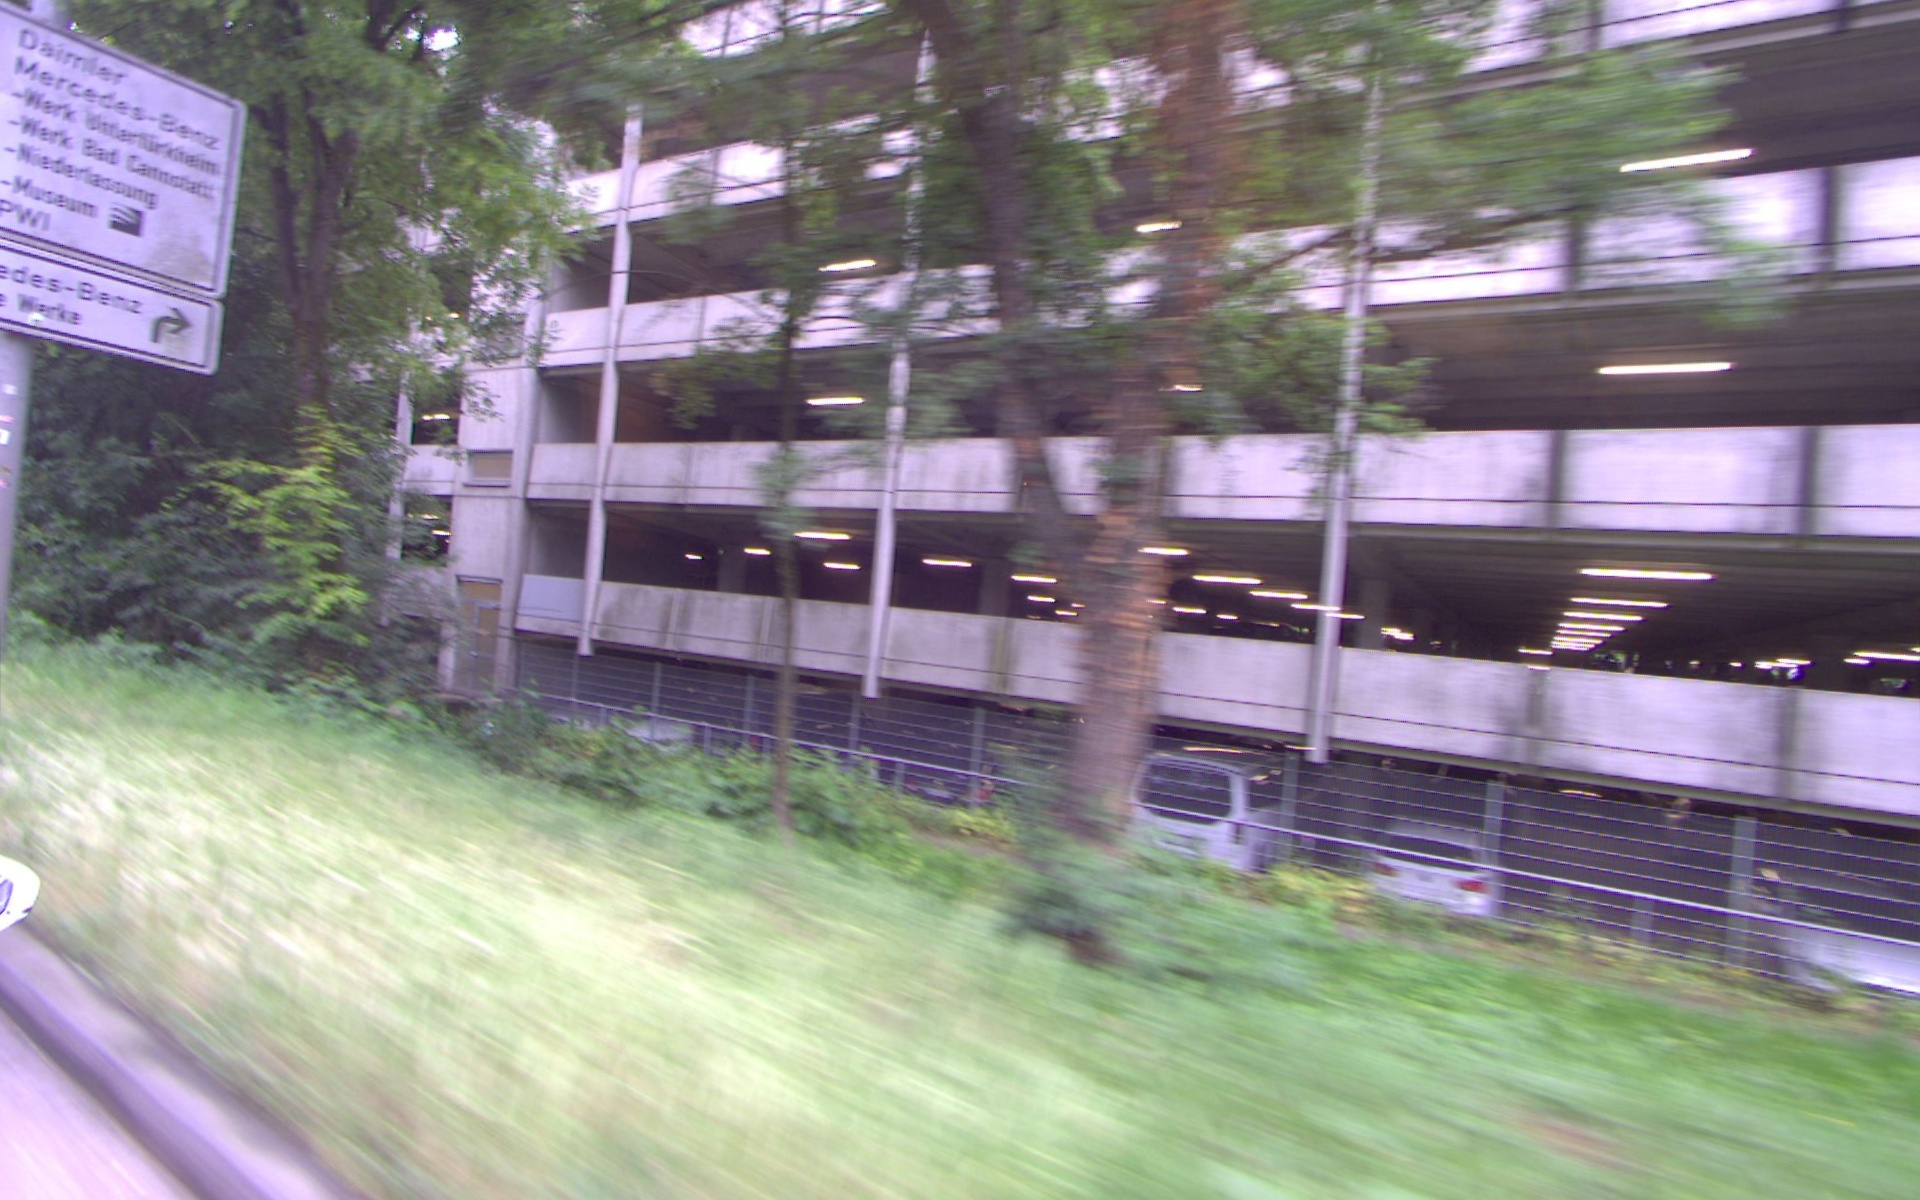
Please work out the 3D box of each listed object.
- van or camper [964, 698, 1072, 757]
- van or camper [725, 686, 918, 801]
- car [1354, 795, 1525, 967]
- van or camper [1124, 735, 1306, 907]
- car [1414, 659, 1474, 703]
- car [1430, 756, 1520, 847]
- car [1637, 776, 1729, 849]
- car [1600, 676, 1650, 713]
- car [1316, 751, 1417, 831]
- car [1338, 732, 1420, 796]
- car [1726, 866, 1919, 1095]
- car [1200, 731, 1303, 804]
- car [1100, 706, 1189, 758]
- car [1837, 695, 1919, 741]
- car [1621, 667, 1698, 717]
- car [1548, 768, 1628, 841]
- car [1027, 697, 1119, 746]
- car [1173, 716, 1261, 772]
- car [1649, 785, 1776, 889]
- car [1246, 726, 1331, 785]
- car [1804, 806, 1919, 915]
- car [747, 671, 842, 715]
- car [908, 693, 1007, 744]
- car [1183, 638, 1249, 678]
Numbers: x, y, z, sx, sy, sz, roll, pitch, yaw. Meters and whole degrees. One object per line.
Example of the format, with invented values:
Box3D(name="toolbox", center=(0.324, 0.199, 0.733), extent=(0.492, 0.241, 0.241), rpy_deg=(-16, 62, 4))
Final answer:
Box3D(name="van or camper", center=(1.841, 3.867, 30.965), extent=(1.698, 1.426, 3.718), rpy_deg=(6, -1, 30))
Box3D(name="van or camper", center=(-2.825, 2.927, 21.375), extent=(1.809, 1.977, 4.011), rpy_deg=(6, -1, 30))
Box3D(name="car", center=(7.188, 3.996, 14.976), extent=(1.916, 1.453, 4.014), rpy_deg=(5, -2, 28))
Box3D(name="van or camper", center=(4.295, 3.429, 16.468), extent=(1.808, 1.977, 4.013), rpy_deg=(6, -1, 28))
Box3D(name="car", center=(21.199, 3.557, 44.001), extent=(1.831, 1.660, 4.184), rpy_deg=(4, -2, 32))
Box3D(name="car", center=(12.207, 4.692, 23.868), extent=(1.644, 1.458, 3.670), rpy_deg=(6, -1, 28))
Box3D(name="car", center=(18.667, 5.445, 26.085), extent=(1.417, 1.348, 3.135), rpy_deg=(6, -2, 28))
Box3D(name="car", center=(33.218, 4.717, 50.322), extent=(1.831, 1.609, 4.184), rpy_deg=(4, -2, 32))
Box3D(name="car", center=(10.521, 4.840, 25.899), extent=(1.646, 1.459, 3.665), rpy_deg=(6, -1, 33))
Box3D(name="car", center=(12.640, 4.865, 30.244), extent=(1.694, 1.440, 3.698), rpy_deg=(5, -2, 31))
Box3D(name="car", center=(11.246, 4.627, 12.520), extent=(1.916, 1.525, 4.263), rpy_deg=(6, -1, 28))
Box3D(name="car", center=(7.761, 4.341, 26.562), extent=(1.645, 1.373, 3.667), rpy_deg=(6, -1, 31))
Box3D(name="car", center=(6.295, 4.408, 33.973), extent=(1.758, 1.323, 3.698), rpy_deg=(5, -1, 29))
Box3D(name="car", center=(33.567, 4.269, 36.475), extent=(1.830, 1.444, 4.185), rpy_deg=(4, -2, 30))
Box3D(name="car", center=(24.630, 3.237, 35.547), extent=(1.830, 1.502, 3.763), rpy_deg=(4, -2, 30))
Box3D(name="car", center=(16.882, 5.418, 26.988), extent=(1.577, 1.323, 3.693), rpy_deg=(5, -1, 35))
Box3D(name="car", center=(3.971, 4.150, 34.831), extent=(1.758, 1.323, 3.698), rpy_deg=(5, -1, 29))
Box3D(name="car", center=(8.313, 4.570, 32.382), extent=(1.758, 1.323, 3.698), rpy_deg=(5, -1, 29))
Box3D(name="car", center=(16.345, 5.085, 22.021), extent=(1.645, 1.459, 3.668), rpy_deg=(6, -1, 30))
Box3D(name="car", center=(10.324, 4.803, 31.460), extent=(1.758, 1.323, 3.698), rpy_deg=(5, -1, 29))
Box3D(name="car", center=(18.759, 5.257, 20.387), extent=(1.644, 1.459, 3.670), rpy_deg=(6, -1, 28))
Box3D(name="car", center=(-5.898, 3.317, 36.167), extent=(1.543, 1.323, 3.205), rpy_deg=(5, -1, 33))
Box3D(name="car", center=(-0.020, 3.705, 31.807), extent=(1.445, 1.316, 3.547), rpy_deg=(6, -1, 30))
Box3D(name="car", center=(12.462, 2.834, 48.790), extent=(1.831, 1.609, 4.184), rpy_deg=(4, -2, 32))
